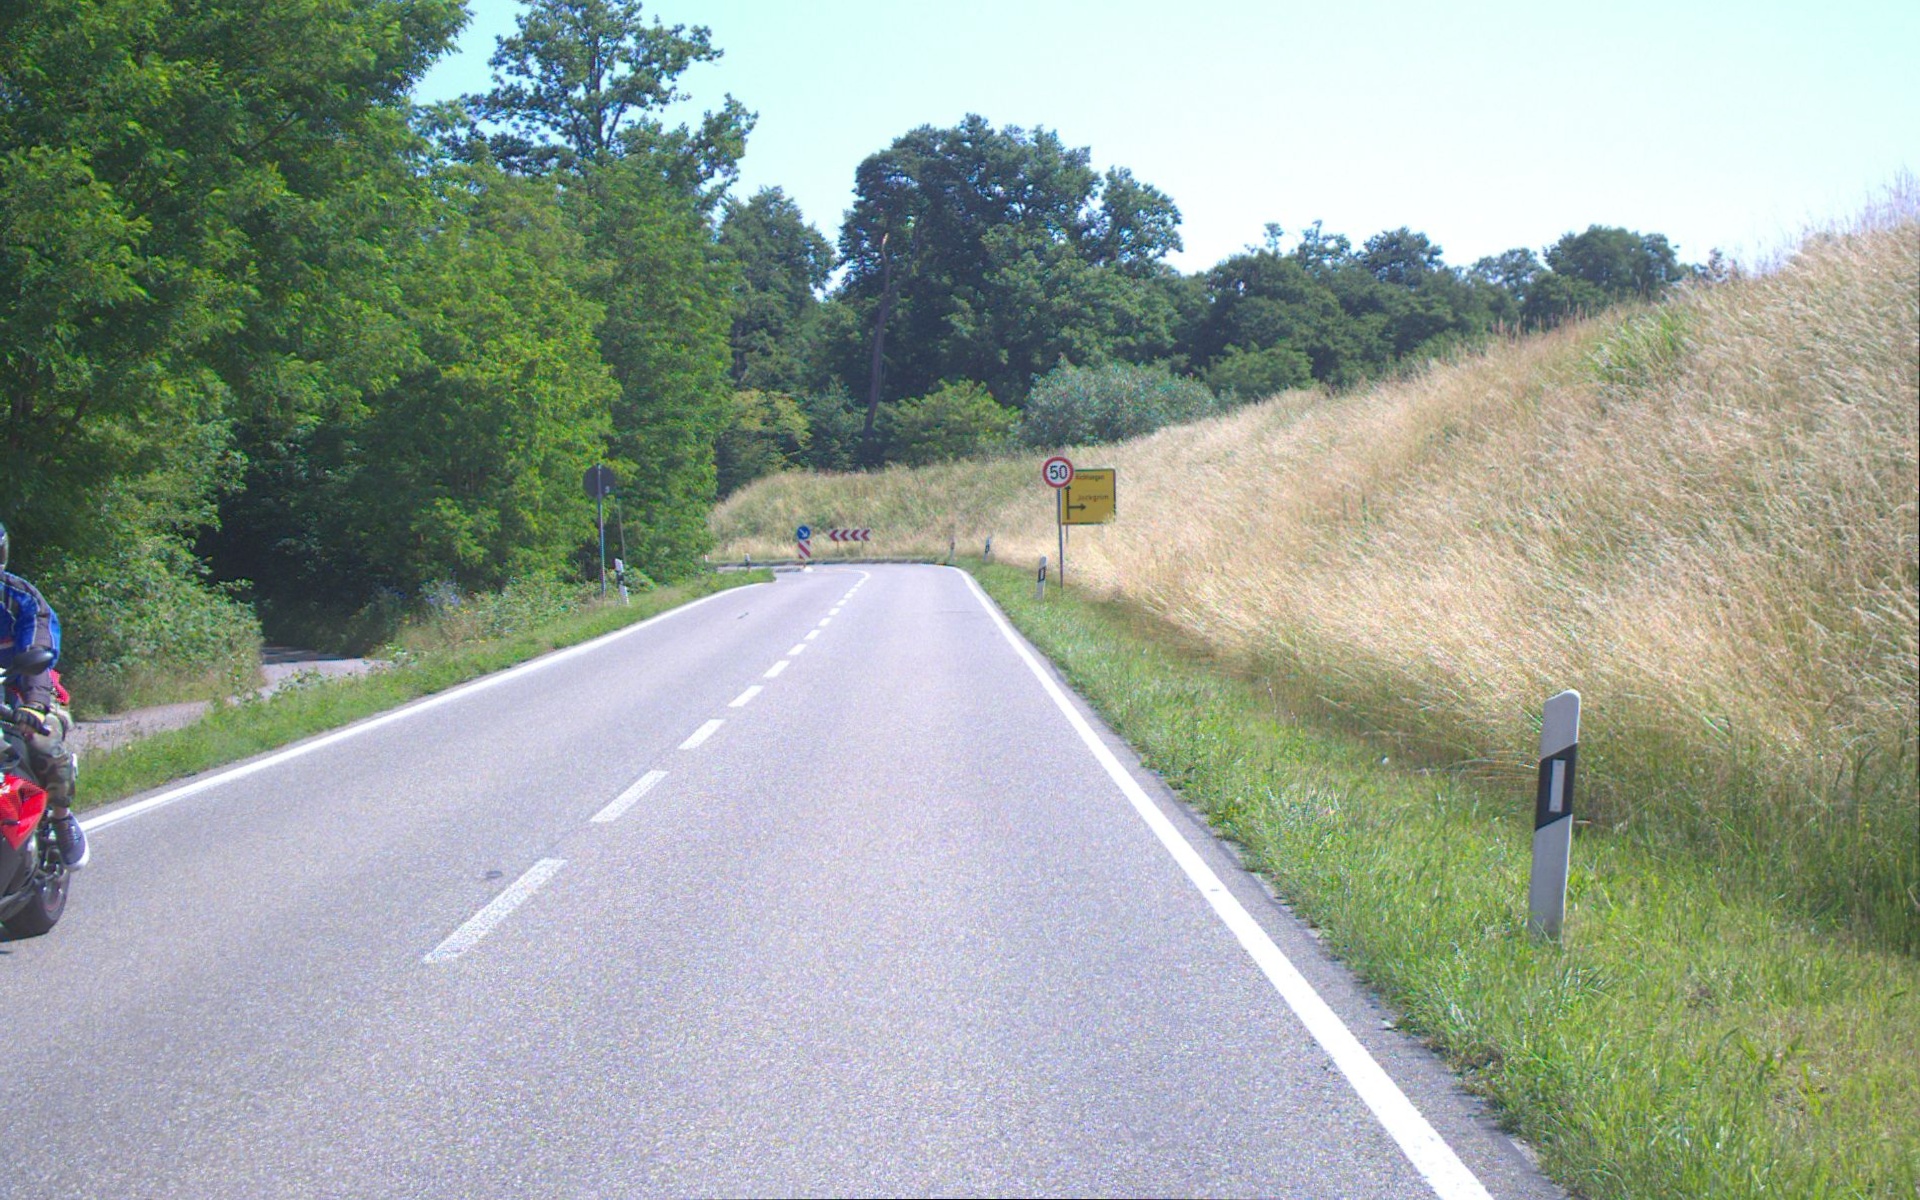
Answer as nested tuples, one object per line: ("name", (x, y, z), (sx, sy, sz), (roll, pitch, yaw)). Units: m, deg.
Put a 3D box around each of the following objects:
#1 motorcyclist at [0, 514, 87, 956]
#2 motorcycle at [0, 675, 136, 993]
("motorcyclist", (-3.538, 0.455, 12.255), (0.659, 1.523, 0.814), (1, 1, -2))
("motorcycle", (-3.517, 0.798, 12.401), (0.639, 0.981, 2.006), (0, 1, -1))
